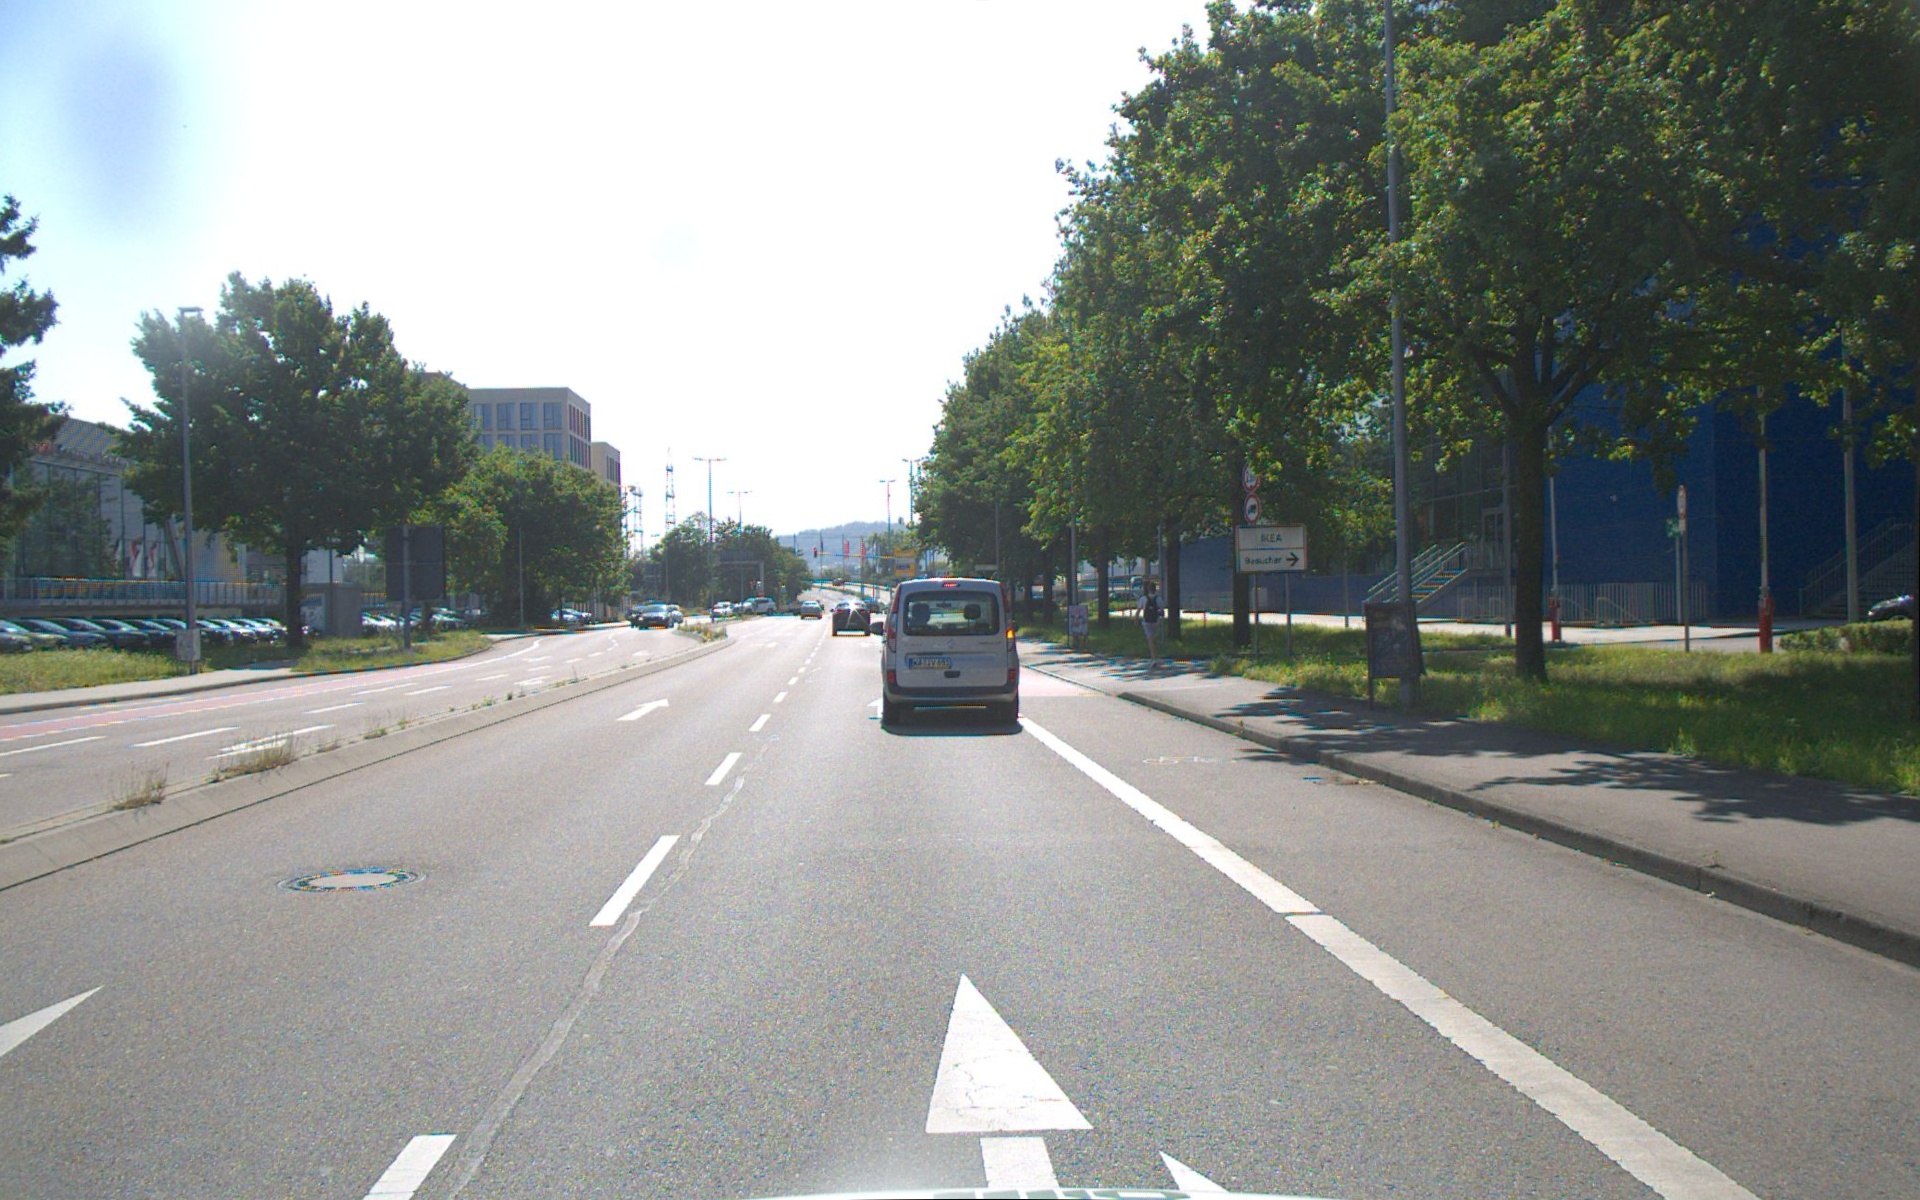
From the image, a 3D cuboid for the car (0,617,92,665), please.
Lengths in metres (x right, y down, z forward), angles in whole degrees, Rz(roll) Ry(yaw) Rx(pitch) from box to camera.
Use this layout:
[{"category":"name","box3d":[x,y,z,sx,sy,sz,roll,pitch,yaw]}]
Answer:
[{"category":"car","box3d":[-29.703,1.293,51.575,4.180,1.374,1.953,-2,0,-2]}]

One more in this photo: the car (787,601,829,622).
[{"category":"car","box3d":[-15.528,1.162,168.930,3.925,2.048,1.990,0,1,-18]}]

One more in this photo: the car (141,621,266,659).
[{"category":"car","box3d":[-30.833,1.629,67.483,4.180,1.374,1.953,-2,0,-2]}]

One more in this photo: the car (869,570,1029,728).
[{"category":"car","box3d":[-0.246,0.590,22.200,1.868,1.861,4.177,-2,0,-4]}]

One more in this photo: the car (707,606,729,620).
[{"category":"car","box3d":[-27.040,1.428,184.966,1.853,1.489,4.000,-2,0,1]}]

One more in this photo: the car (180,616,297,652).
[{"category":"car","box3d":[-31.278,1.458,71.826,4.180,1.374,1.953,-2,0,-2]}]

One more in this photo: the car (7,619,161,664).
[{"category":"car","box3d":[-29.976,1.408,56.664,4.180,1.374,1.953,-2,0,-2]}]

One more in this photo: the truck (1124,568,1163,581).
[{"category":"truck","box3d":[28.111,-3.917,253.644,5.790,2.048,2.000,1,1,-2]}]

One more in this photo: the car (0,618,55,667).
[{"category":"car","box3d":[-29.418,1.308,48.893,4.180,1.374,1.953,-2,0,-2]}]

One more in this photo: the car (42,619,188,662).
[{"category":"car","box3d":[-30.192,1.436,59.211,4.180,1.374,1.953,-2,0,-2]}]

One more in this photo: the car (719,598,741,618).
[{"category":"car","box3d":[-23.085,0.803,166.139,1.955,1.864,4.931,-2,0,-6]}]

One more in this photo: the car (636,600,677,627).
[{"category":"car","box3d":[-18.735,0.829,102.212,1.805,1.489,4.996,-4,0,-3]}]

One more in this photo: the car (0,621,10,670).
[{"category":"car","box3d":[-29.354,1.361,46.420,4.180,1.374,1.953,-2,0,-2]}]

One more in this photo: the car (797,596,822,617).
[{"category":"car","box3d":[-13.165,0.566,145.179,1.954,1.713,3.998,-2,0,-3]}]

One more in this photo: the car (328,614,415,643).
[{"category":"car","box3d":[-31.820,1.510,89.521,3.962,1.400,2.024,-2,0,-4]}]

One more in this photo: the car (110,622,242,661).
[{"category":"car","box3d":[-30.621,1.610,64.662,4.180,1.374,1.953,-2,0,-2]}]

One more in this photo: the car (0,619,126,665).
[{"category":"car","box3d":[-29.899,1.375,54.092,4.180,1.374,1.953,-2,0,-2]}]

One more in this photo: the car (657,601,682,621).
[{"category":"car","box3d":[-23.622,0.856,134.540,1.622,1.489,3.545,-3,0,-6]}]

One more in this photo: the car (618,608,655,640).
[{"category":"car","box3d":[-22.740,1.685,116.268,1.953,2.048,3.999,1,1,-2]}]

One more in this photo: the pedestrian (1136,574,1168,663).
[{"category":"pedestrian","box3d":[4.101,0.394,35.347,0.524,1.874,0.727,-2,0,-3]}]

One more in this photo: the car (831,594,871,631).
[{"category":"car","box3d":[-5.251,0.585,80.095,1.771,1.668,4.456,-2,0,-3]}]

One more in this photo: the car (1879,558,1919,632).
[{"category":"car","box3d":[21.655,-0.144,34.132,1.892,1.547,4.314,-2,0,-38]}]

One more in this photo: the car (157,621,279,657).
[{"category":"car","box3d":[-31.166,1.631,69.560,4.180,1.374,1.953,-2,0,-2]}]
